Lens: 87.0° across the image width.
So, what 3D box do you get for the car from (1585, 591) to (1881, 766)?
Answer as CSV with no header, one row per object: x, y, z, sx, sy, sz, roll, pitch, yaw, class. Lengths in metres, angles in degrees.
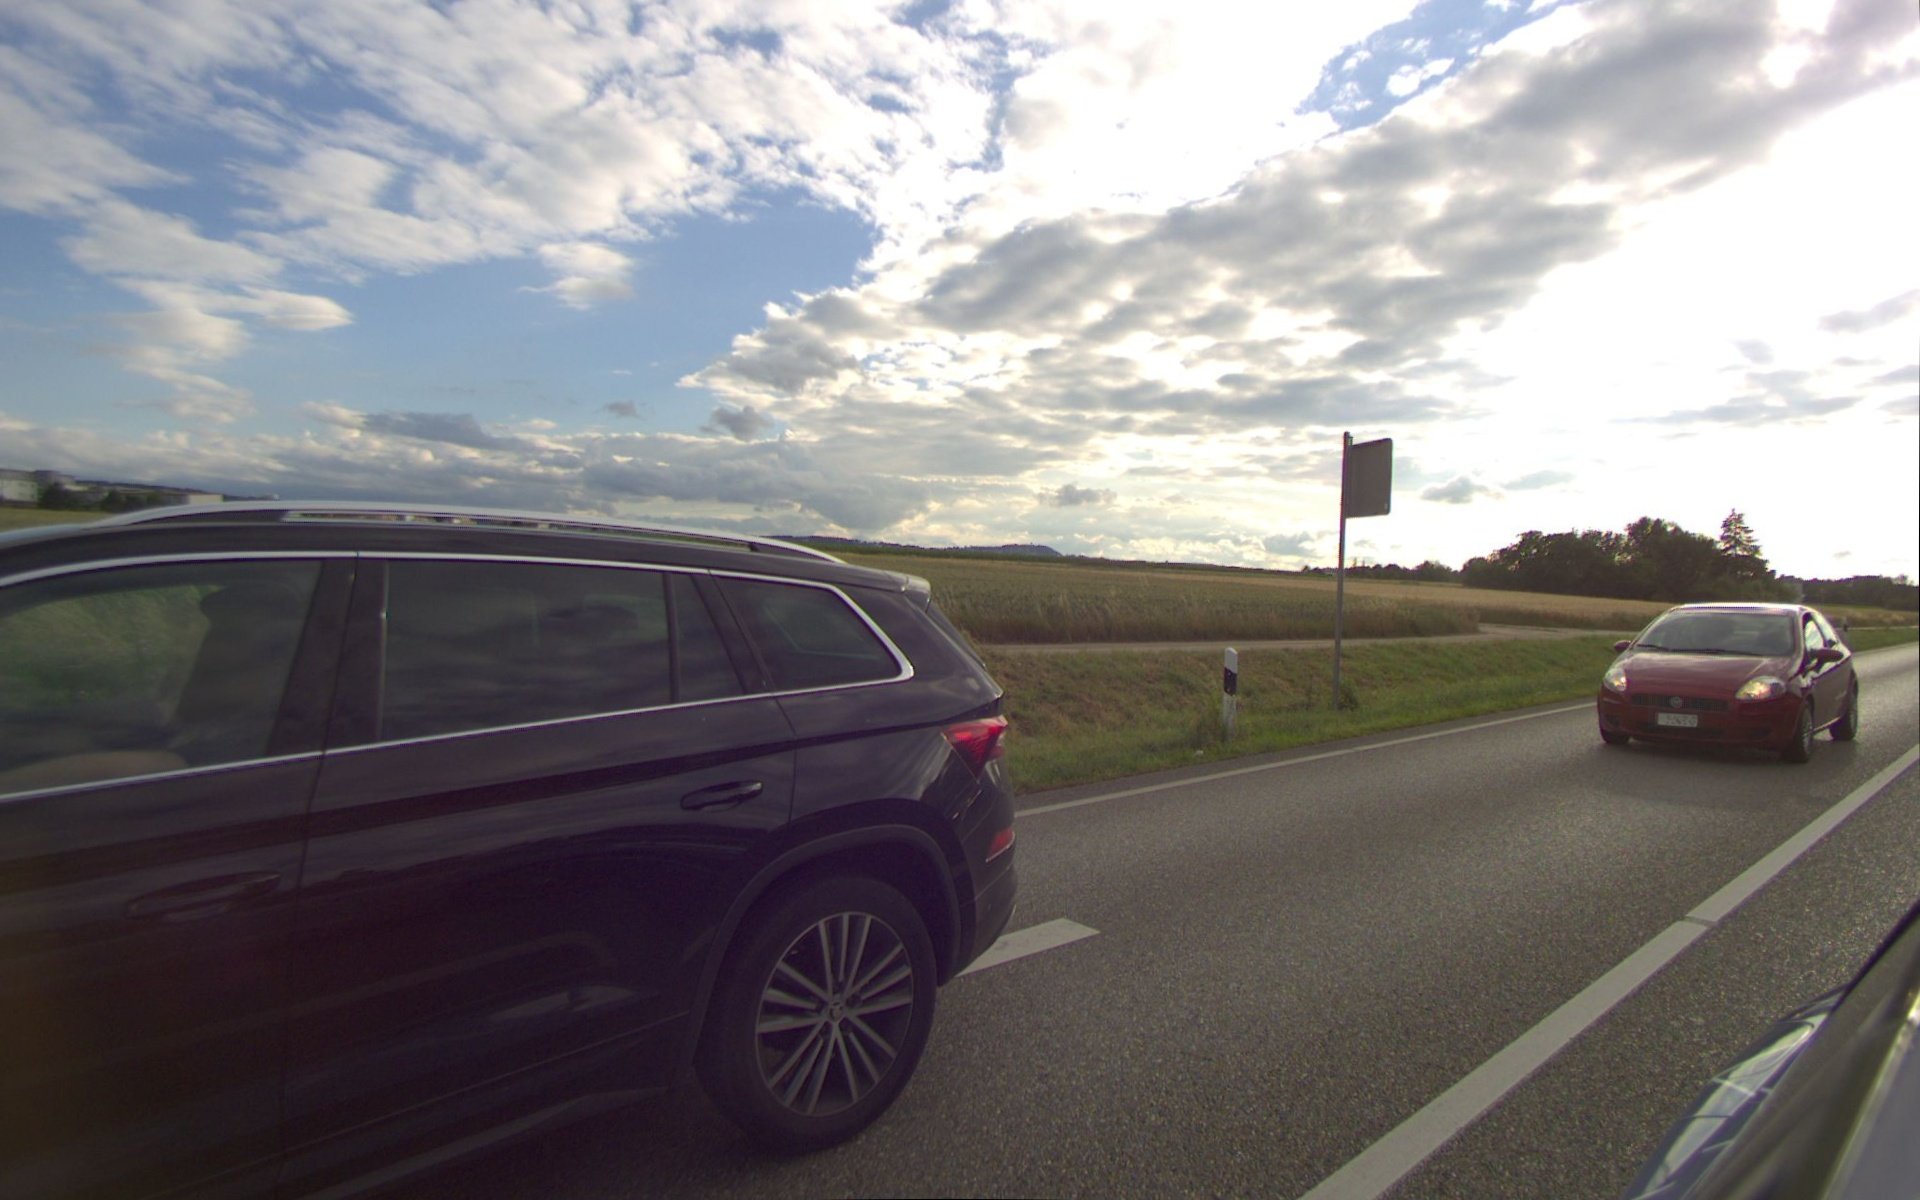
8.177,0.659,10.589,3.840,1.475,1.710,-1,0,-41,car

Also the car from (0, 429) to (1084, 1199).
-1.893,0.592,2.470,4.477,1.730,1.839,-1,0,-41,car
